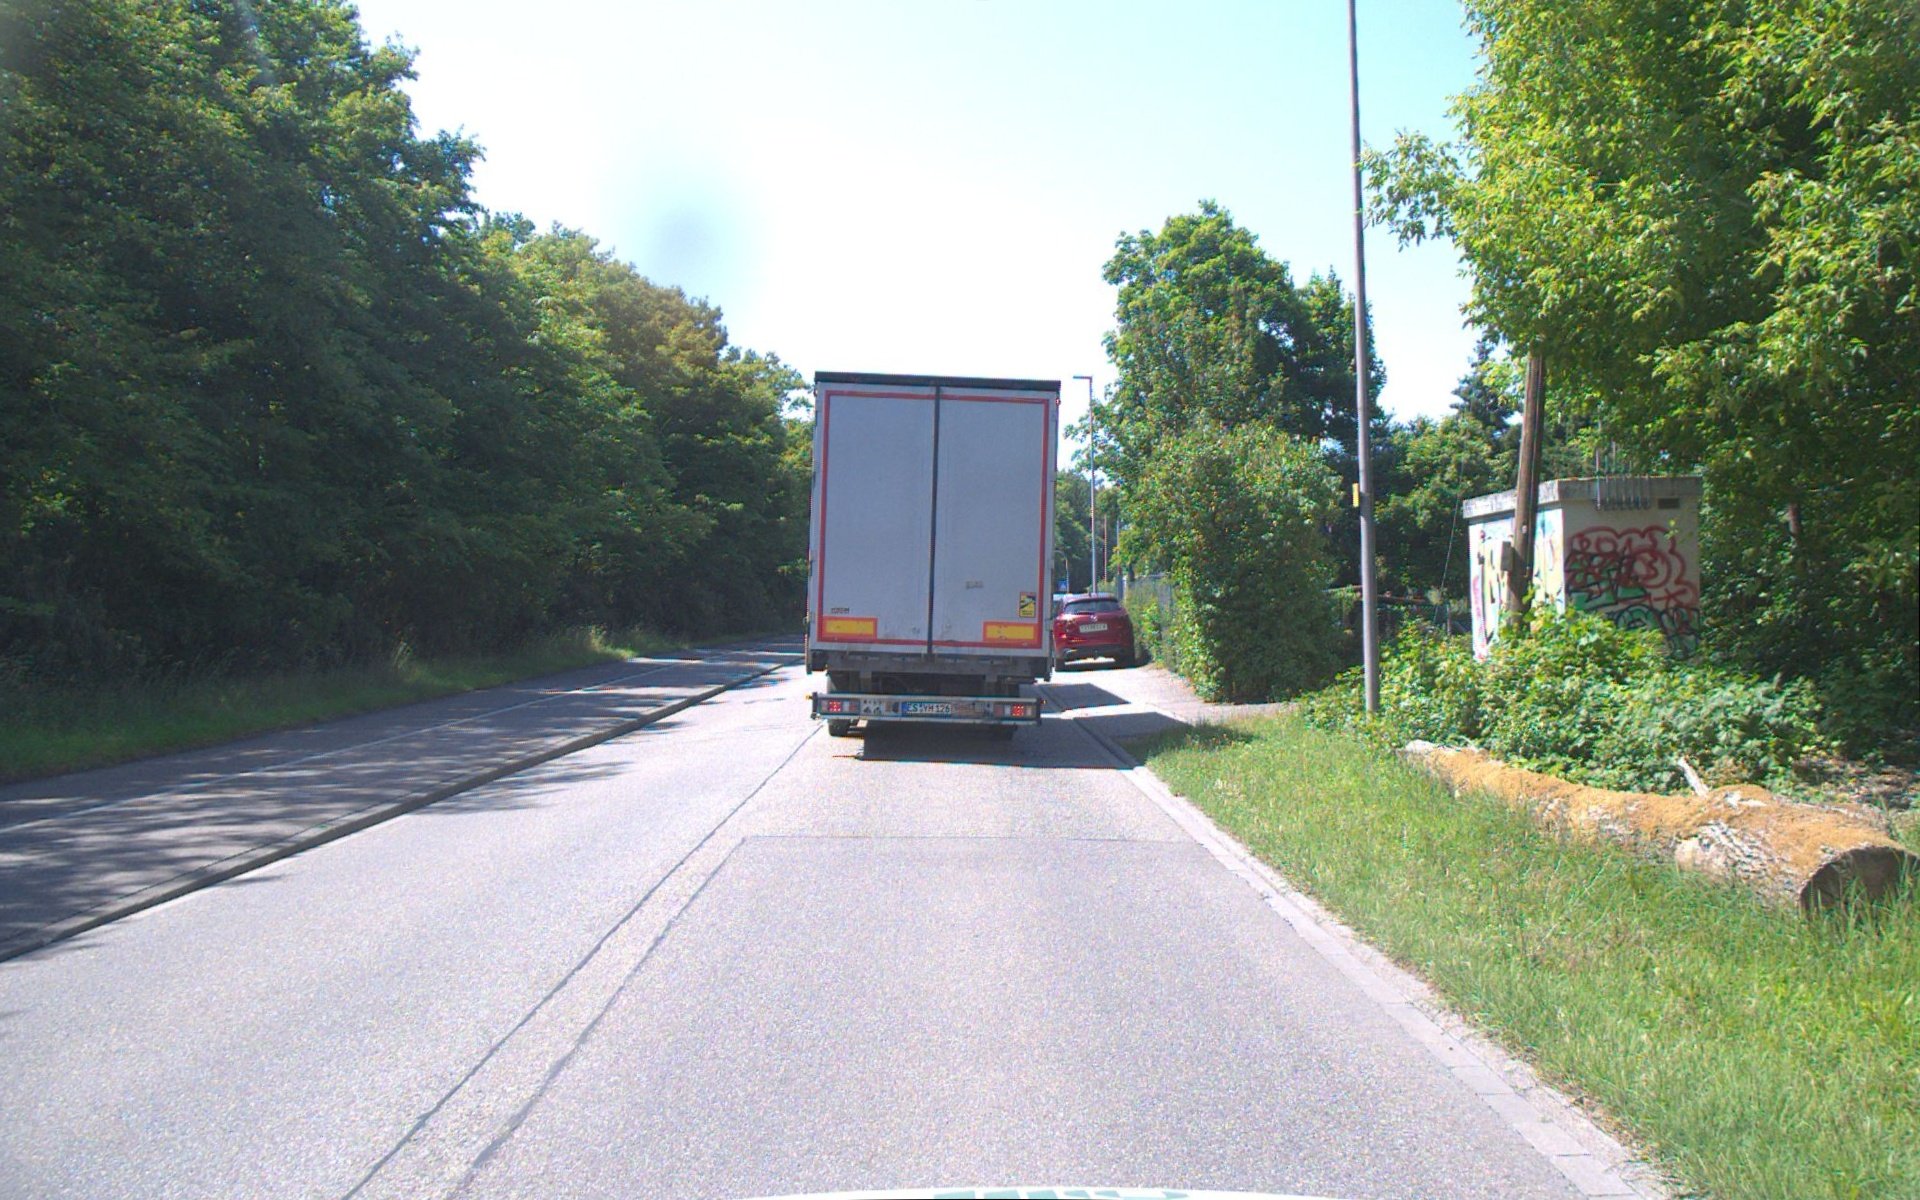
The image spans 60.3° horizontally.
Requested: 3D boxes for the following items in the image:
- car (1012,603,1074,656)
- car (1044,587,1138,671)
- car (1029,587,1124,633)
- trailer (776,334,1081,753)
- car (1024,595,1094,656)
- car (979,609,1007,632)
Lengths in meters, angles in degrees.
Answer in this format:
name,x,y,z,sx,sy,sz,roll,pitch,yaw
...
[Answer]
name,x,y,z,sx,sy,sz,roll,pitch,yaw
car,2.702,0.931,54.636,1.753,1.507,4.665,-5,0,0
car,2.969,0.632,38.280,1.753,1.687,4.452,-5,0,0
car,5.295,0.457,75.276,4.169,1.728,1.854,-4,-1,3
trailer,-0.531,-0.564,22.303,3.050,4.174,11.531,0,0,-2
car,2.859,0.707,48.361,1.753,1.631,4.129,-2,0,0
car,2.367,1.454,118.496,1.743,1.512,4.002,-1,0,5
